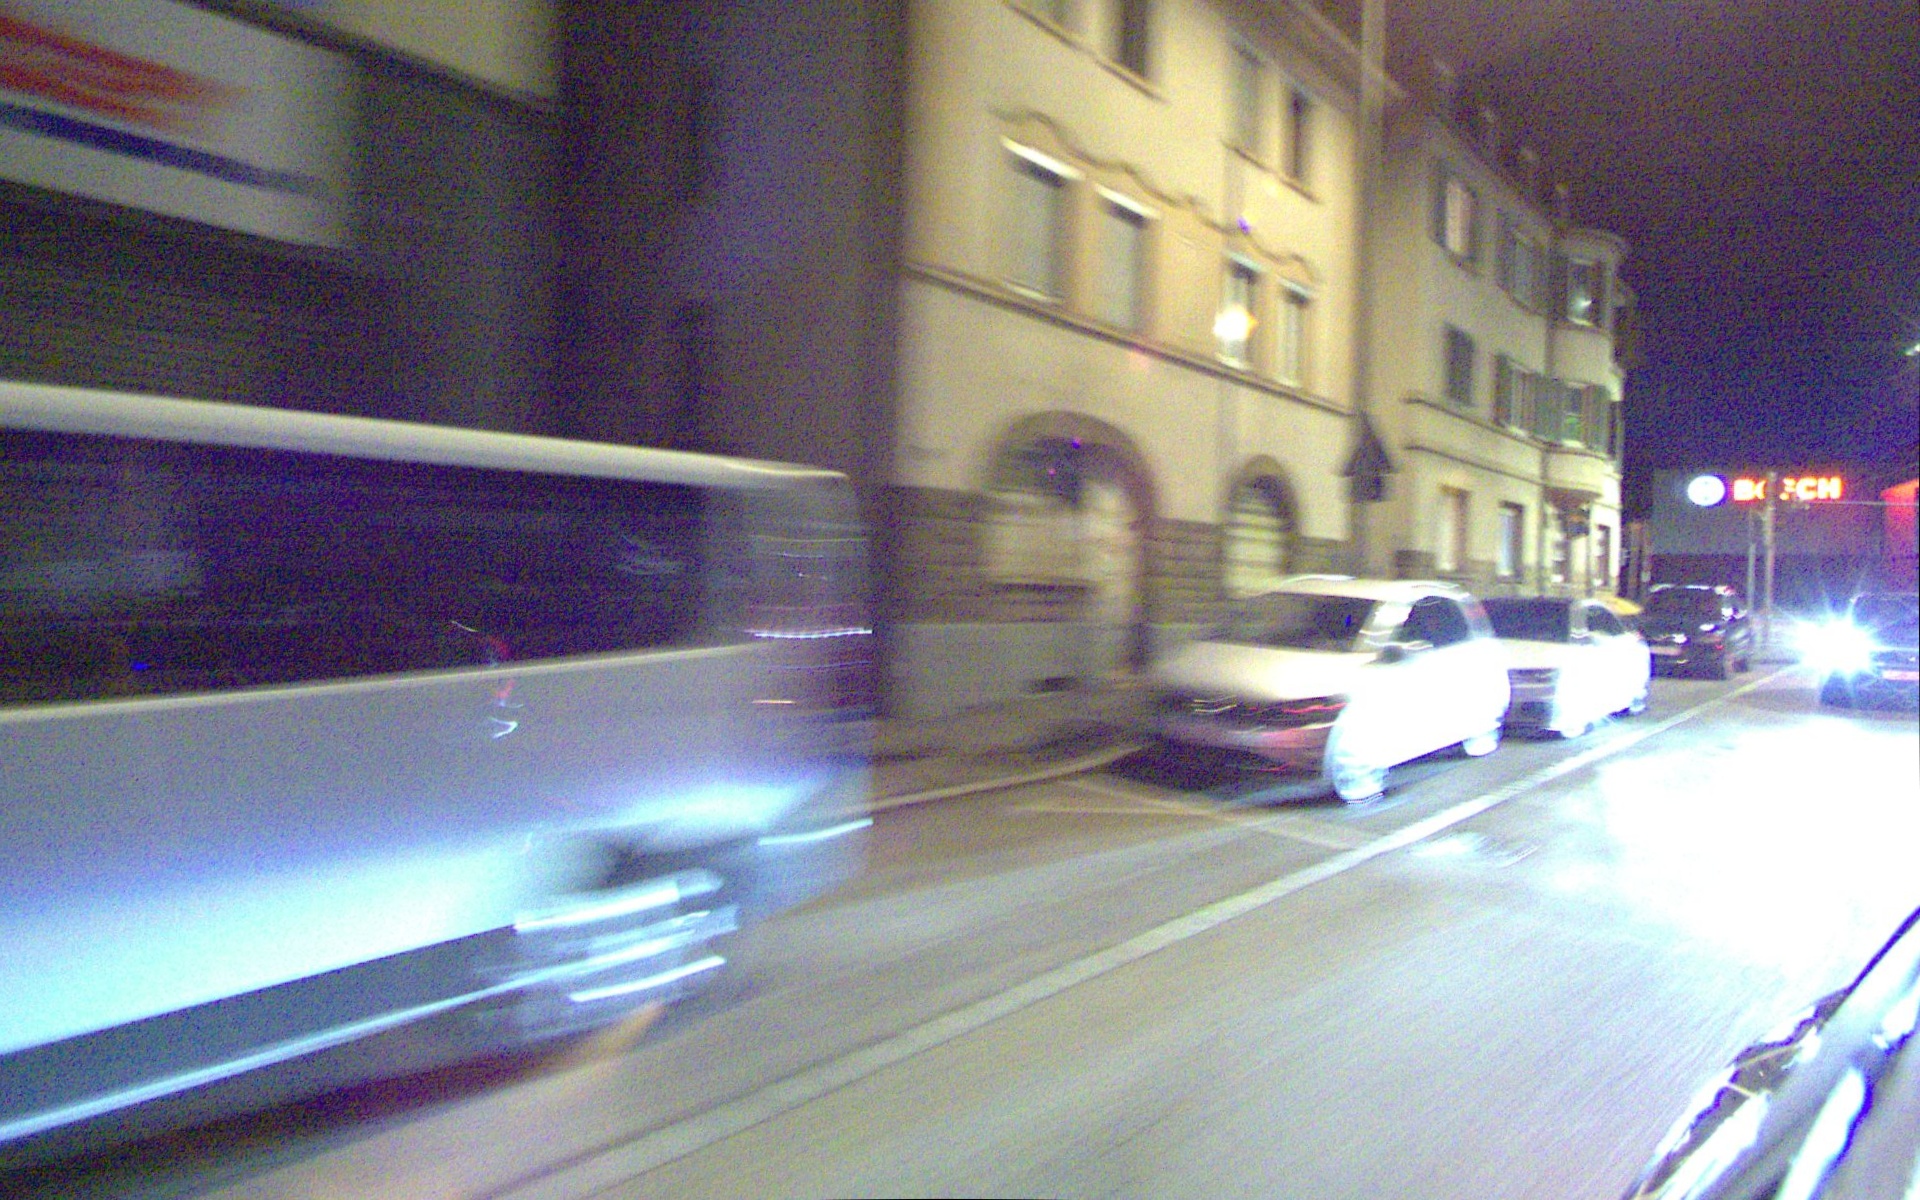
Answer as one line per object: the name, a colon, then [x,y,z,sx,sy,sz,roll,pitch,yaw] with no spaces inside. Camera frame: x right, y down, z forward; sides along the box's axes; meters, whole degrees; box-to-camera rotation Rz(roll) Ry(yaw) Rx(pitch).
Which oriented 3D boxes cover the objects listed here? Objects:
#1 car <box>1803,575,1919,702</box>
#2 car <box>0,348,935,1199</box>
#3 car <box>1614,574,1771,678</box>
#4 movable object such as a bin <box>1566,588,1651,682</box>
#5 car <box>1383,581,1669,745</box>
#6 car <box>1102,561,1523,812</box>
car: [13.889,0.505,14.638,3.930,1.636,1.997,0,2,-41]
car: [-2.708,0.407,2.830,5.283,1.952,2.074,-1,4,-45]
car: [14.033,0.397,19.305,1.745,1.703,4.190,4,4,45]
movable object such as a bin: [10.910,0.547,17.008,0.937,1.449,1.318,4,3,43]
car: [6.930,0.569,12.123,1.745,1.527,4.756,4,4,45]
car: [3.182,0.507,8.645,1.745,1.584,4.143,4,4,45]
